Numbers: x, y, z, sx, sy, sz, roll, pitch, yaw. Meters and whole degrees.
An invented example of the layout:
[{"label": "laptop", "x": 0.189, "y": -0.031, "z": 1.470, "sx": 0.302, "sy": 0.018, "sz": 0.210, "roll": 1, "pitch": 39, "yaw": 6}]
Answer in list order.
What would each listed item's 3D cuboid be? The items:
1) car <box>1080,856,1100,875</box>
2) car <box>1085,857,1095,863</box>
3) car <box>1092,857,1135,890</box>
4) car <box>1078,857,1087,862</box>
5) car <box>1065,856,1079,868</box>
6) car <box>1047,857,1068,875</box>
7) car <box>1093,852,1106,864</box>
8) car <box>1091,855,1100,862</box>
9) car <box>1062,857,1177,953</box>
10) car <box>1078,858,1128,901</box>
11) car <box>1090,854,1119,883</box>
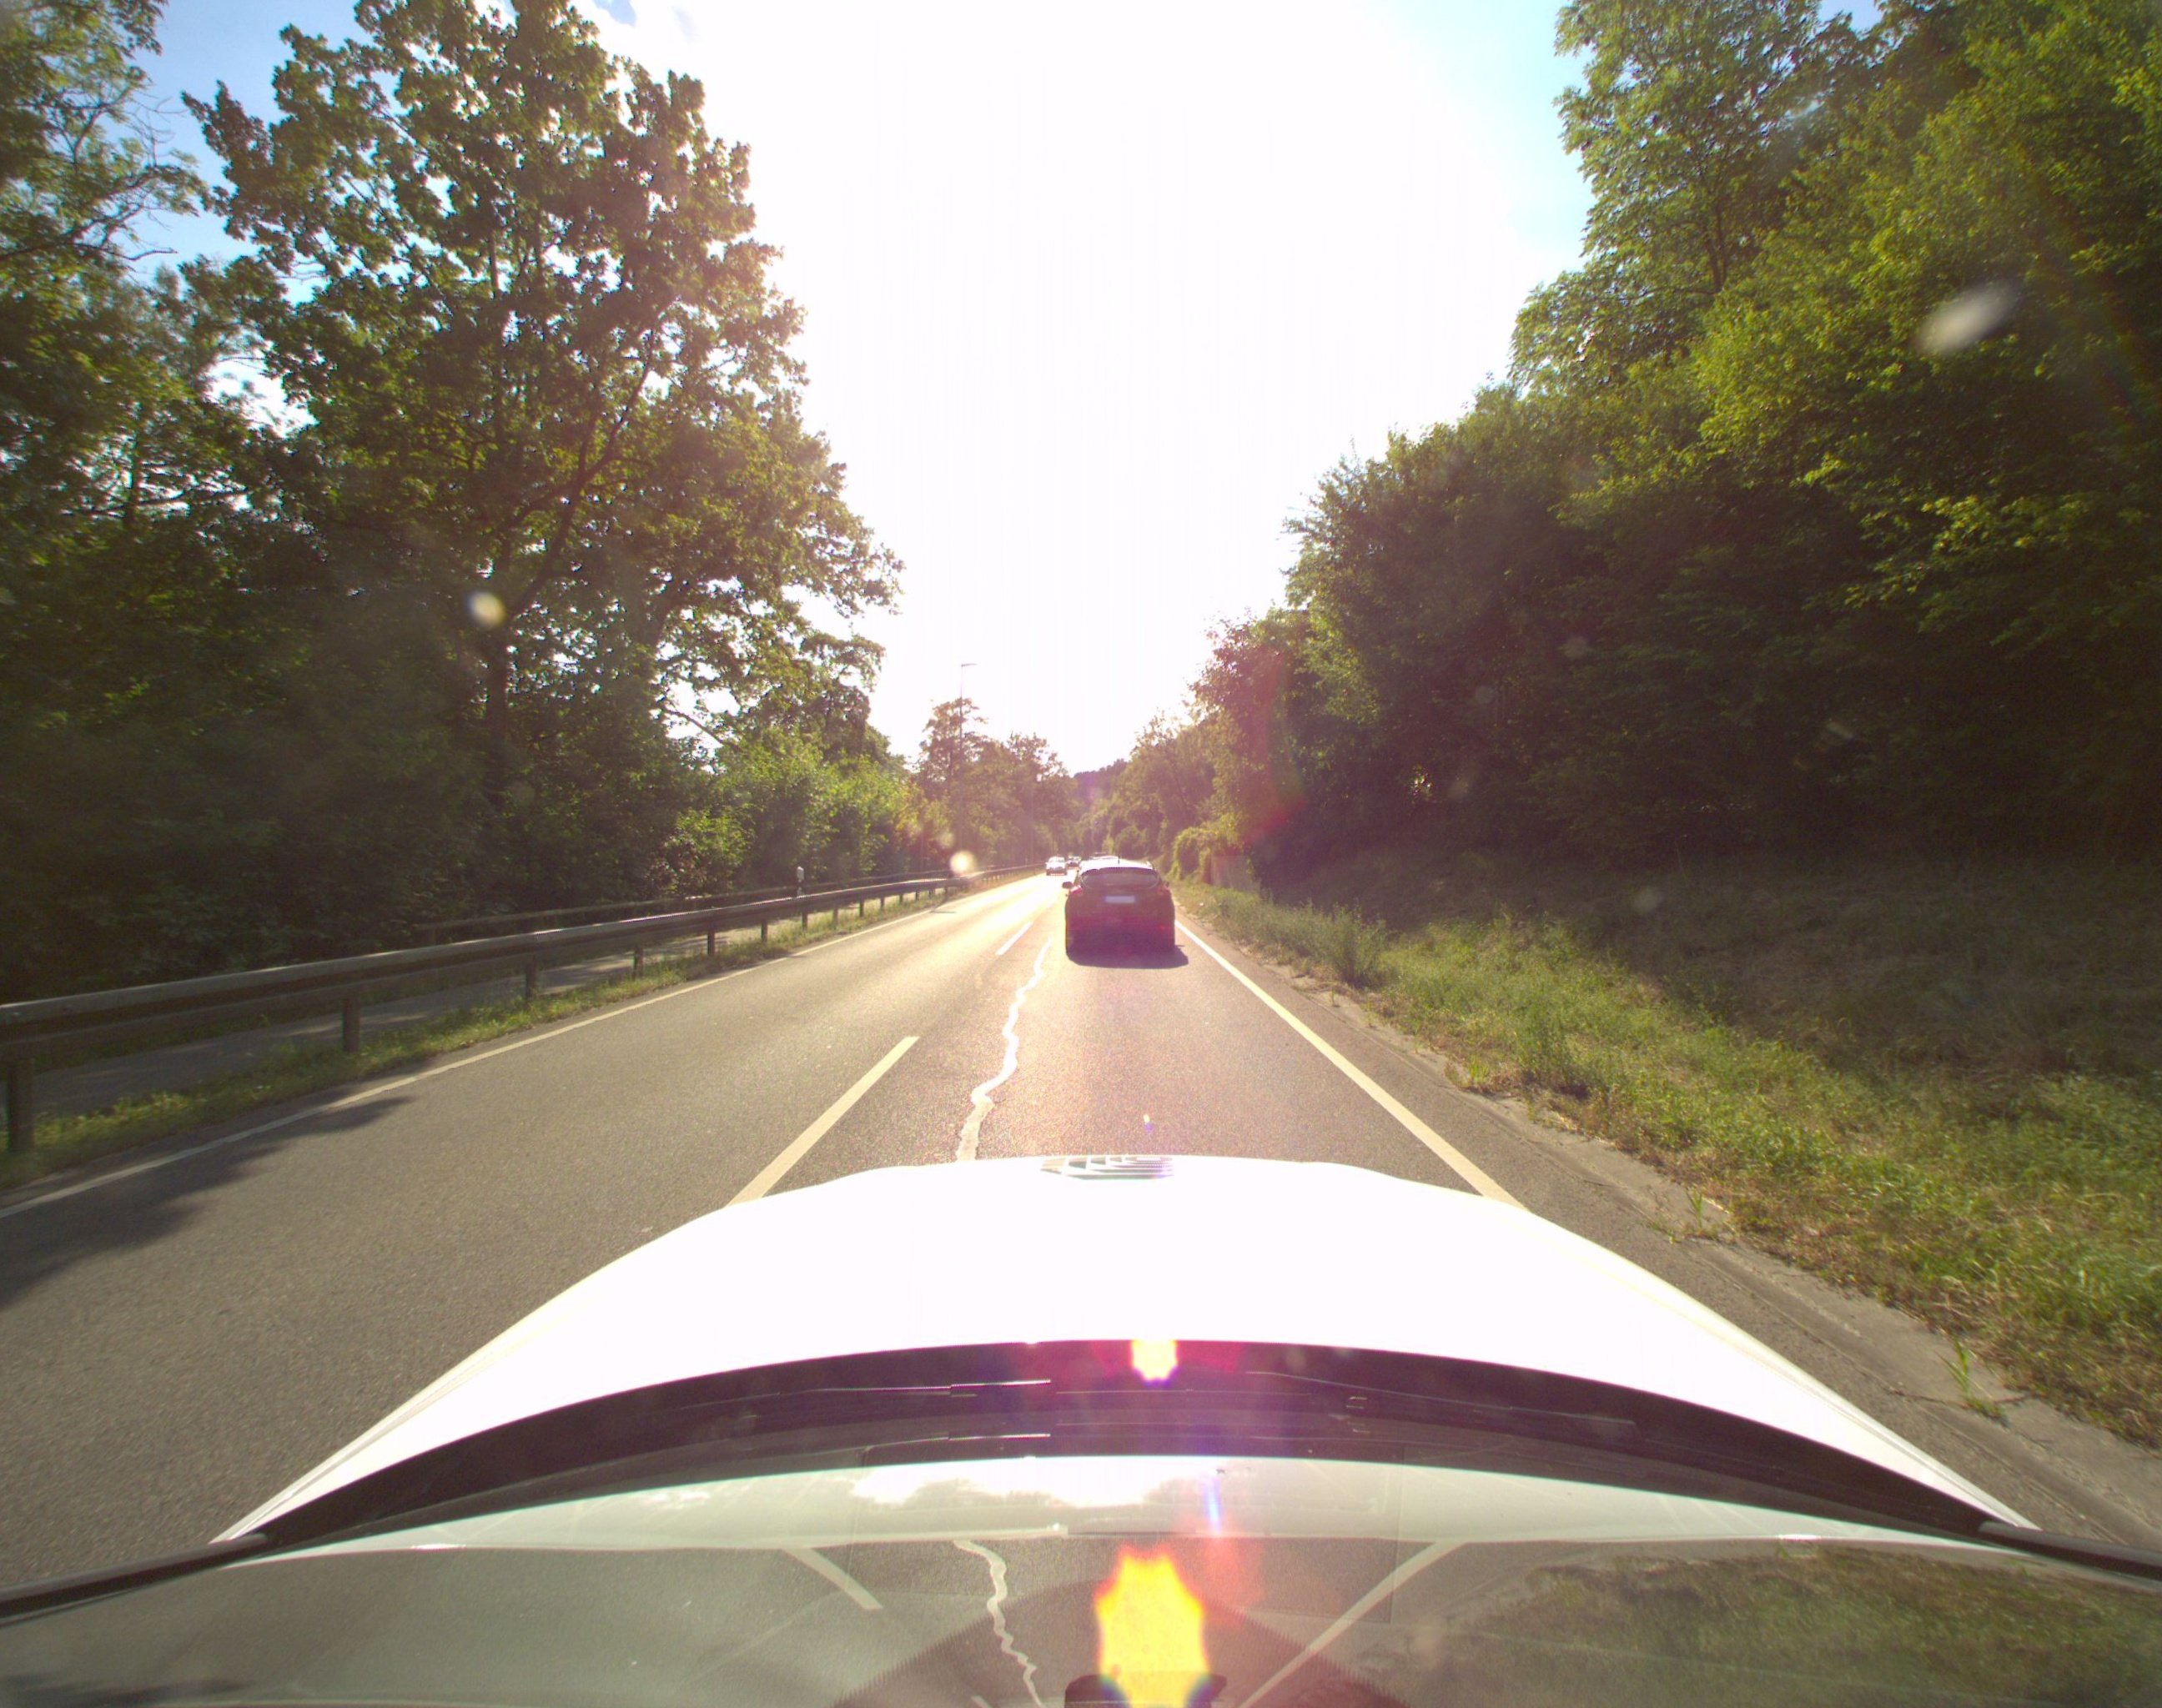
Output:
[{"label": "car", "x": 0.837, "y": 0.979, "z": 70.047, "sx": 1.625, "sy": 1.596, "sz": 4.001, "roll": -1, "pitch": 0, "yaw": 2}, {"label": "car", "x": 2.220, "y": 1.414, "z": 201.000, "sx": 1.991, "sy": 1.519, "sz": 3.992, "roll": -1, "pitch": 0, "yaw": -6}, {"label": "car", "x": 1.468, "y": 0.836, "z": 37.212, "sx": 1.798, "sy": 1.391, "sz": 4.001, "roll": -1, "pitch": 0, "yaw": 2}, {"label": "car", "x": 0.380, "y": 1.575, "z": 230.224, "sx": 1.992, "sy": 1.519, "sz": 3.990, "roll": -1, "pitch": 0, "yaw": -7}, {"label": "car", "x": -1.159, "y": 1.070, "z": 107.939, "sx": 1.676, "sy": 1.463, "sz": 4.198, "roll": -1, "pitch": 0, "yaw": 1}, {"label": "car", "x": -1.954, "y": 0.995, "z": 68.846, "sx": 1.617, "sy": 1.377, "sz": 4.048, "roll": -1, "pitch": 0, "yaw": 1}, {"label": "car", "x": 2.862, "y": 0.614, "z": 124.258, "sx": 1.857, "sy": 1.780, "sz": 3.999, "roll": -1, "pitch": 0, "yaw": 0}, {"label": "car", "x": 3.101, "y": 0.990, "z": 174.804, "sx": 1.813, "sy": 1.519, "sz": 4.001, "roll": -1, "pitch": 0, "yaw": 2}, {"label": "car", "x": 0.648, "y": 0.789, "z": 14.387, "sx": 1.733, "sy": 1.456, "sz": 4.001, "roll": 0, "pitch": 0, "yaw": 2}, {"label": "car", "x": 0.849, "y": 0.856, "z": 29.183, "sx": 1.654, "sy": 1.418, "sz": 4.003, "roll": -1, "pitch": 0, "yaw": 3}, {"label": "car", "x": 1.431, "y": 0.837, "z": 48.780, "sx": 1.625, "sy": 1.596, "sz": 4.001, "roll": -1, "pitch": 0, "yaw": 2}]
